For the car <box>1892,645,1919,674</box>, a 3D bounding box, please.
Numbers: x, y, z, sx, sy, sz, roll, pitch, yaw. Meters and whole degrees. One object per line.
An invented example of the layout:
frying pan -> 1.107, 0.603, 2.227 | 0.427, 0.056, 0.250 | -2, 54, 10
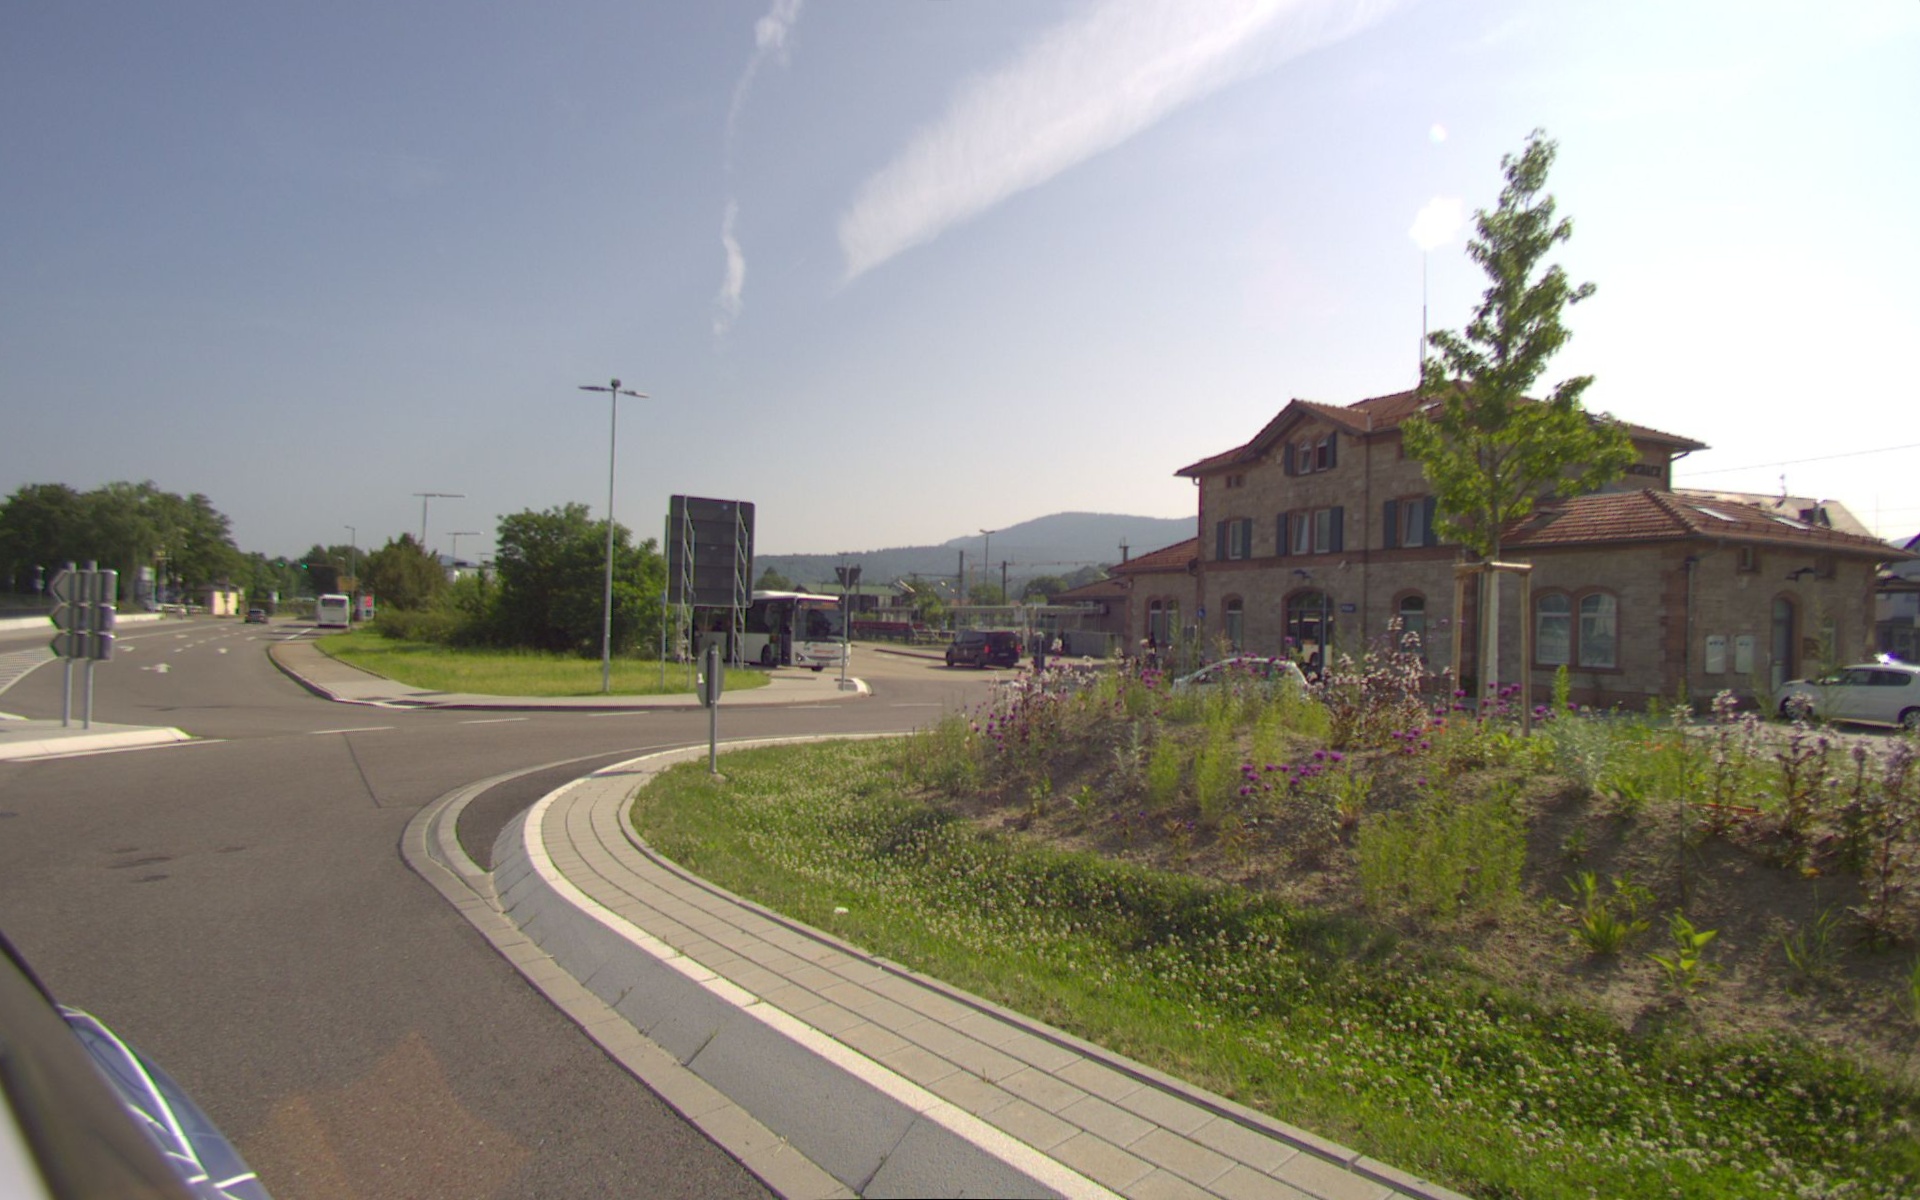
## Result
car -> 53.902, 3.395, 56.692 | 3.521, 1.546, 1.617 | 4, -2, -33

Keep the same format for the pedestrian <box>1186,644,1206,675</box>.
pedestrian -> 9.500, 2.401, 40.739 | 0.435, 1.213, 0.586 | 3, -2, -27

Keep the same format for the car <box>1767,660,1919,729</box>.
car -> 21.534, 2.199, 23.943 | 1.368, 1.461, 3.548 | 2, -2, -29

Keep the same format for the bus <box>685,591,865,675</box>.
bus -> -8.309, 1.389, 43.529 | 3.023, 3.147, 11.751 | 3, -3, -34

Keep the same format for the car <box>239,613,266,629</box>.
car -> -72.036, 2.144, 103.051 | 1.747, 1.484, 4.233 | 3, -2, -29

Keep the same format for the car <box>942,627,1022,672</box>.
car -> 1.006, 2.387, 49.313 | 1.813, 1.960, 4.898 | 3, -2, -26

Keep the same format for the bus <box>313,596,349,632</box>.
bus -> -62.507, 1.377, 100.786 | 2.584, 3.335, 11.993 | 4, -2, -30

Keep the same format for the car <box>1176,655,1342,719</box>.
car -> 6.201, 1.783, 21.175 | 3.213, 1.181, 1.386 | 1, -2, 15

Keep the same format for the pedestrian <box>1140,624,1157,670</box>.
pedestrian -> 8.503, 2.124, 45.621 | 0.522, 2.029, 0.579 | 3, -2, -9

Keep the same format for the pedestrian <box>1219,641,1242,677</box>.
pedestrian -> 10.362, 2.260, 38.781 | 0.557, 1.360, 0.554 | 3, -2, -24
